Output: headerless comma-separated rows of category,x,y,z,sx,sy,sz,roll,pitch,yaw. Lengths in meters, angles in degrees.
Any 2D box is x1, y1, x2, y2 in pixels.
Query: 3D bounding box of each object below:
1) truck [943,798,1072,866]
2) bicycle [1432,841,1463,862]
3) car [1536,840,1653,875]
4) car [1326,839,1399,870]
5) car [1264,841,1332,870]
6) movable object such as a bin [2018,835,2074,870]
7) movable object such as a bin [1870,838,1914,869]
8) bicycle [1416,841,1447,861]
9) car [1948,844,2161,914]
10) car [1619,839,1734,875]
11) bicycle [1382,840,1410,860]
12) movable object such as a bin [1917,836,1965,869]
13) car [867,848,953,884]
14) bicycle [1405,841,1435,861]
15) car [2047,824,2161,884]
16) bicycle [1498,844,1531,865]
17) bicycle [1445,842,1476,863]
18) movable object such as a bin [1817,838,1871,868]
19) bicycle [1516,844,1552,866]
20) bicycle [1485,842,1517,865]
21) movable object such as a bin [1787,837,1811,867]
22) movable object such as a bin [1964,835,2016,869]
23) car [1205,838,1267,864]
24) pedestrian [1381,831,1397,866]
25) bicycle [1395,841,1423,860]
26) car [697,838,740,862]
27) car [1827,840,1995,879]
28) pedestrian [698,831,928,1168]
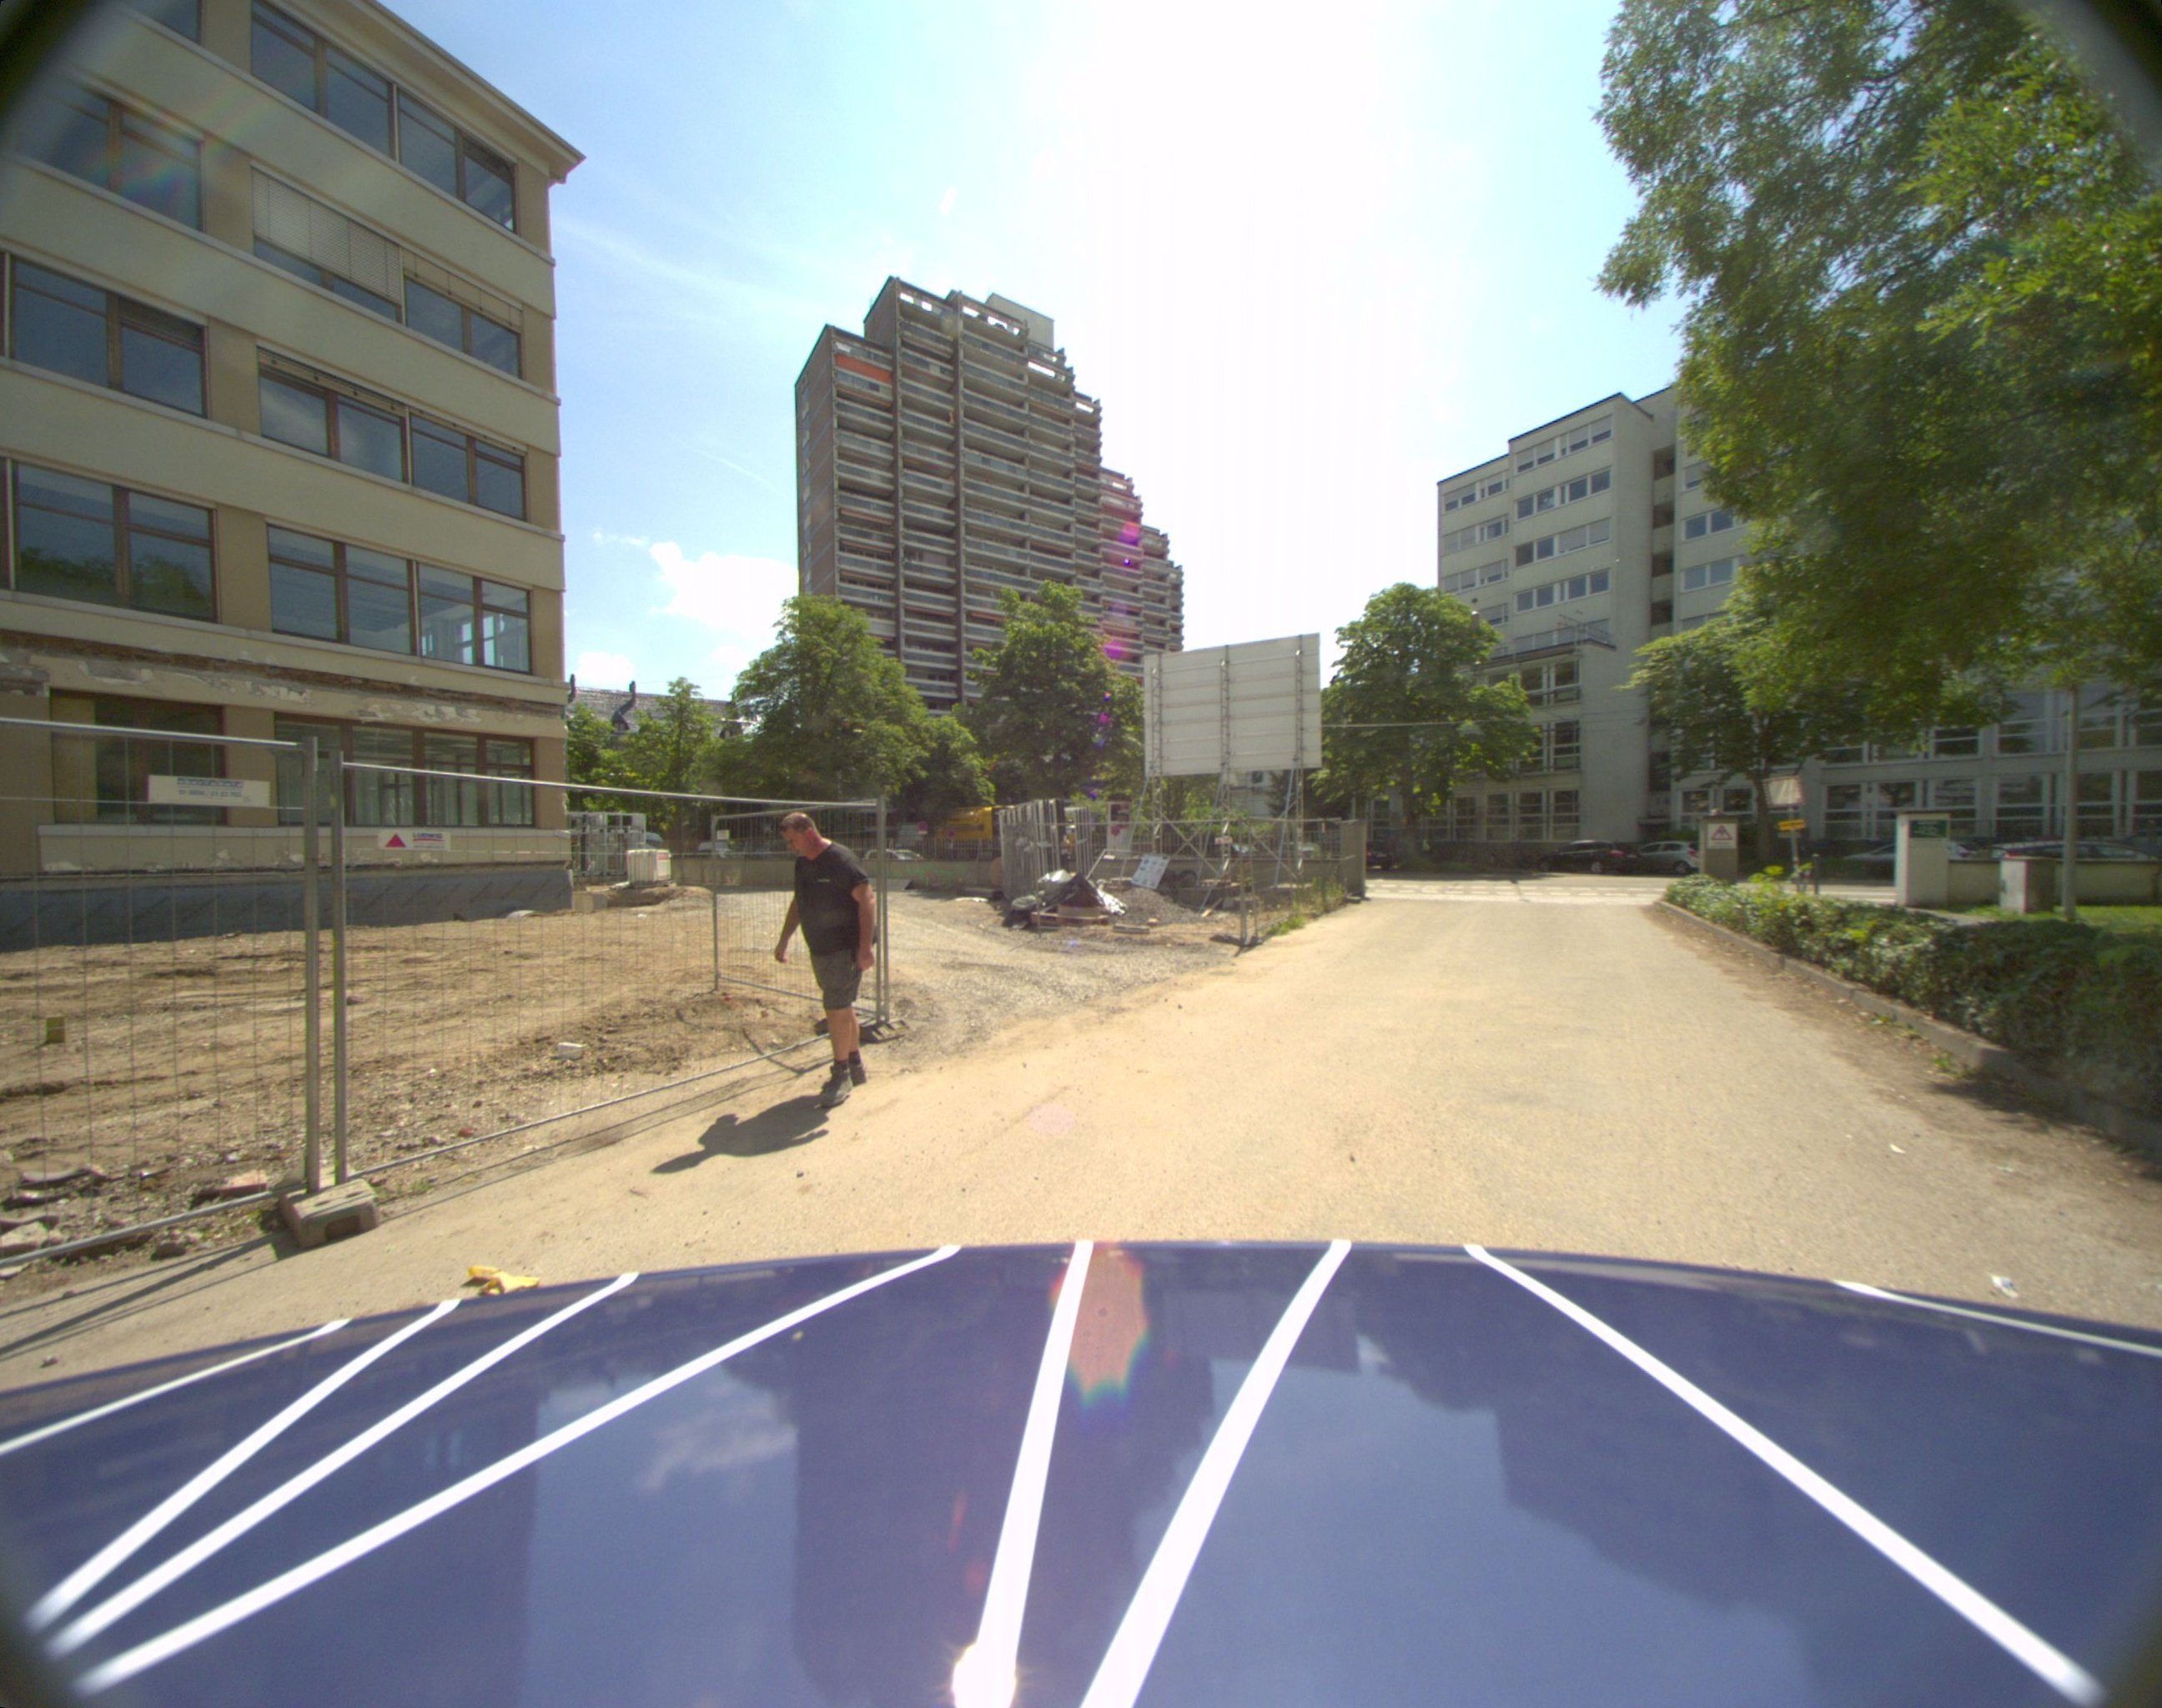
truck,-4.982,-1.370,49.320,2.756,3.983,9.715,-3,2,-44
bicycle,20.872,-0.146,43.211,1.947,1.124,0.567,-1,2,-30
car,23.004,0.117,34.231,1.755,1.461,4.190,-1,1,-17
car,14.301,-0.006,38.738,1.651,1.508,3.570,-1,1,-17
car,11.424,0.039,40.311,1.820,1.454,4.018,-1,1,-11
movable object such as a bin,39.256,-0.069,30.932,1.178,1.390,1.040,0,1,37
movable object such as a bin,35.392,-0.042,33.174,1.074,1.323,0.973,0,1,31
bicycle,20.325,-0.186,44.033,1.947,1.124,0.567,-1,2,-30
car,21.930,0.523,16.526,3.716,1.448,1.592,0,-1,26
car,25.637,0.095,32.869,1.755,1.454,3.534,-1,1,-17
bicycle,19.063,-0.251,45.939,1.931,1.124,0.567,-1,2,-33
movable object such as a bin,36.779,-0.075,32.520,1.178,1.390,1.040,0,1,37
car,-7.422,0.484,32.912,3.573,1.432,1.626,0,1,33
bicycle,19.953,-0.200,44.680,1.931,1.124,0.567,-1,2,-30
car,37.257,-0.005,26.090,2.001,2.002,4.623,-1,1,-16
bicycle,23.027,0.021,40.346,1.947,1.124,0.567,-1,2,-30
bicycle,21.218,-0.100,42.502,1.947,1.124,0.567,-1,2,-30
movable object such as a bin,33.995,-0.044,33.896,1.448,1.323,1.128,0,1,31
bicycle,23.800,0.039,39.899,2.238,1.124,0.567,-1,2,-30
bicycle,22.805,-0.053,41.210,1.947,1.230,0.567,-1,2,-30
movable object such as a bin,33.661,-0.093,35.638,0.801,1.397,0.769,1,1,43
movable object such as a bin,37.972,-0.072,31.758,1.178,1.390,1.040,0,1,37
car,8.482,-0.180,41.924,1.631,1.365,4.016,-1,1,-17
pedestrian,16.604,-0.278,40.933,0.576,1.864,0.717,1,2,43
bicycle,19.576,-0.219,45.351,1.931,1.124,0.567,-1,2,-33
car,-30.802,-0.361,64.710,1.999,2.002,3.997,-1,1,-5
car,31.652,0.166,29.133,1.716,1.405,3.974,-1,1,-17
pedestrian,-1.607,0.772,4.675,0.868,1.809,0.969,0,2,25
